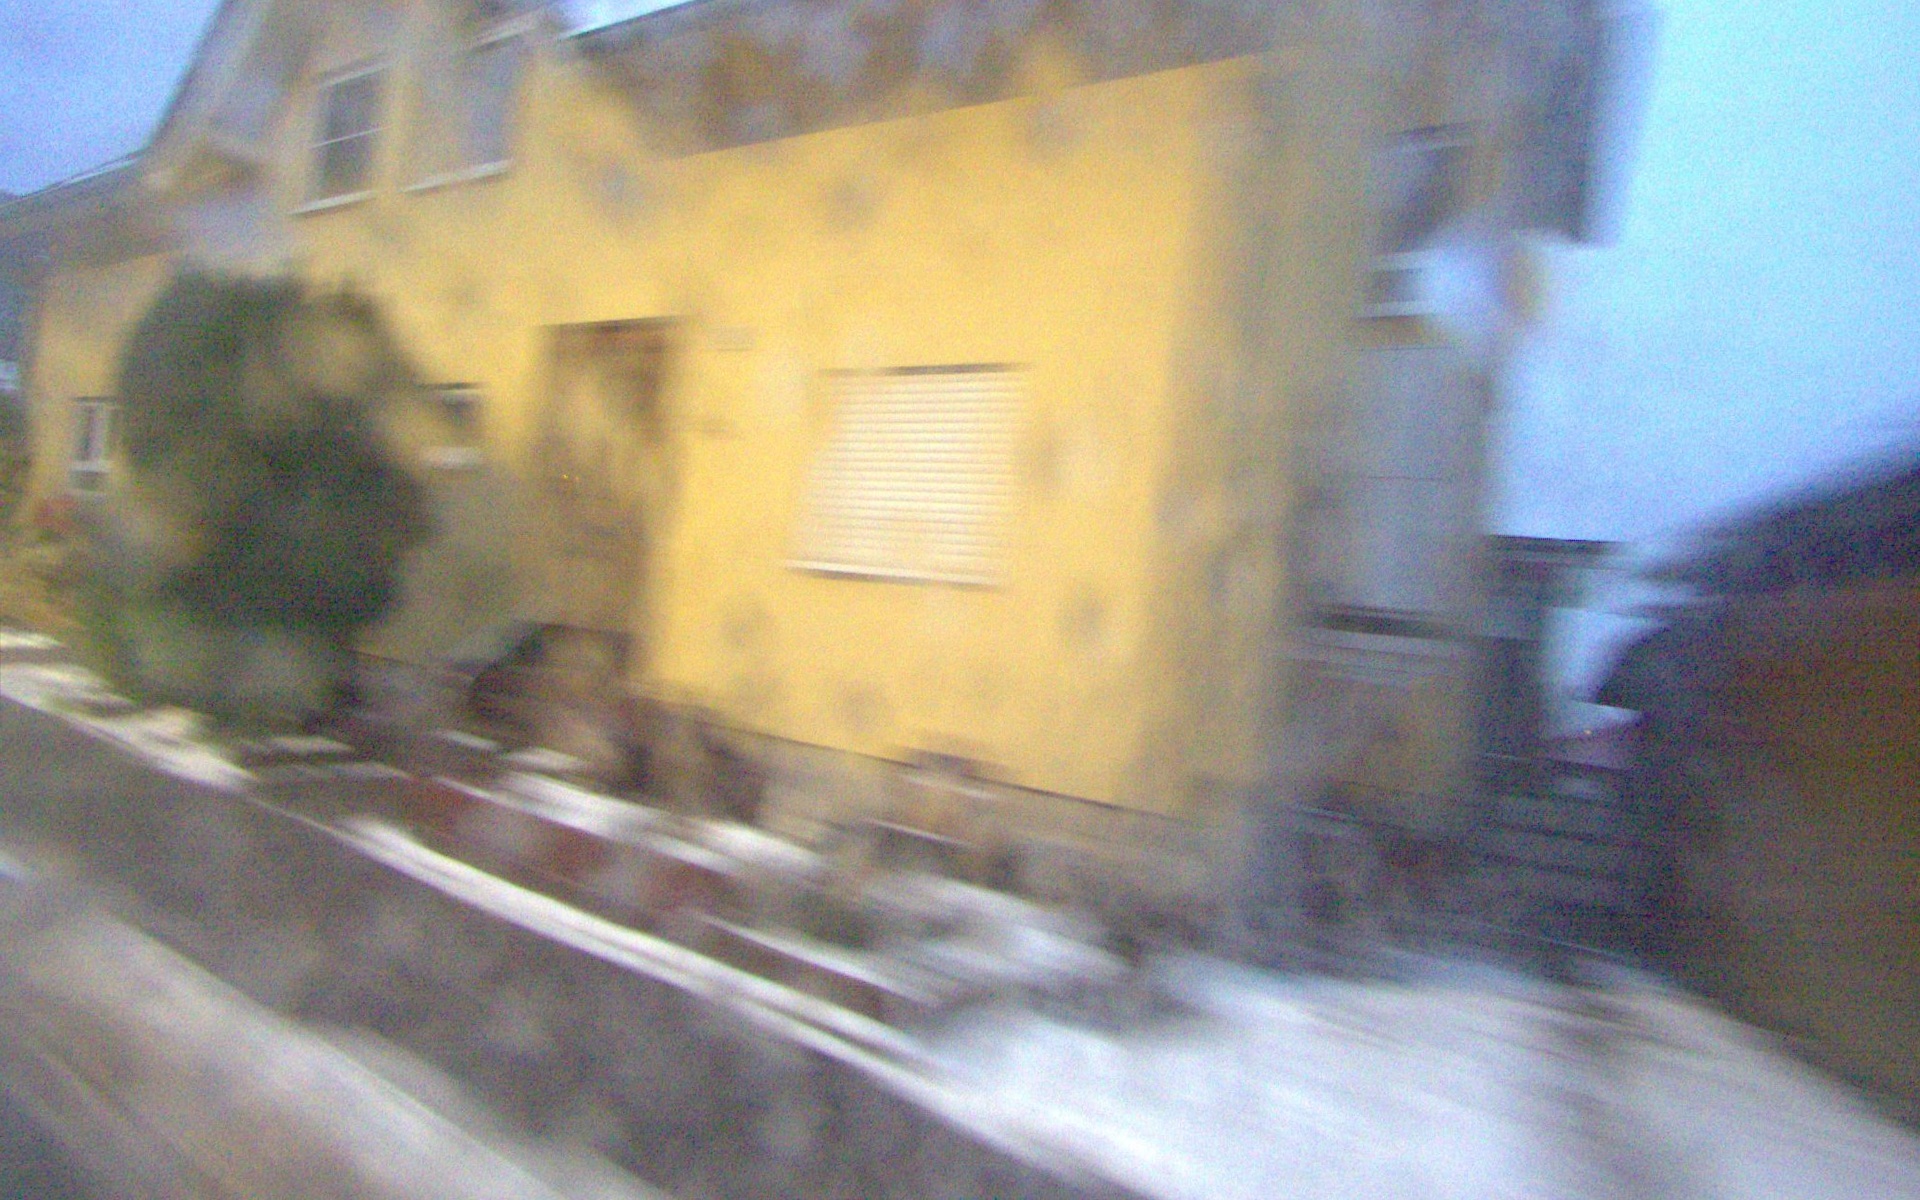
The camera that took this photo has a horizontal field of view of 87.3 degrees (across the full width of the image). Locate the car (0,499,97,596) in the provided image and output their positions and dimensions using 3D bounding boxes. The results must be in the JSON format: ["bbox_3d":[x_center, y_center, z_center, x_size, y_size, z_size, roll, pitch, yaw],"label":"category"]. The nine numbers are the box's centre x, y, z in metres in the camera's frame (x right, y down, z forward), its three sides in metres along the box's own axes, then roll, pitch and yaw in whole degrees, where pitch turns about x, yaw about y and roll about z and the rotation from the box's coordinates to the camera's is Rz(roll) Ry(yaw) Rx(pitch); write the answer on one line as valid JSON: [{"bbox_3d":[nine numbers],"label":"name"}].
[{"bbox_3d":[-16.853,-1.122,16.038,1.867,1.449,4.185,8,-3,26],"label":"car"}]

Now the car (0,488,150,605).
[{"bbox_3d":[-14.391,-0.924,14.483,1.789,1.514,3.753,7,-1,25],"label":"car"}]
